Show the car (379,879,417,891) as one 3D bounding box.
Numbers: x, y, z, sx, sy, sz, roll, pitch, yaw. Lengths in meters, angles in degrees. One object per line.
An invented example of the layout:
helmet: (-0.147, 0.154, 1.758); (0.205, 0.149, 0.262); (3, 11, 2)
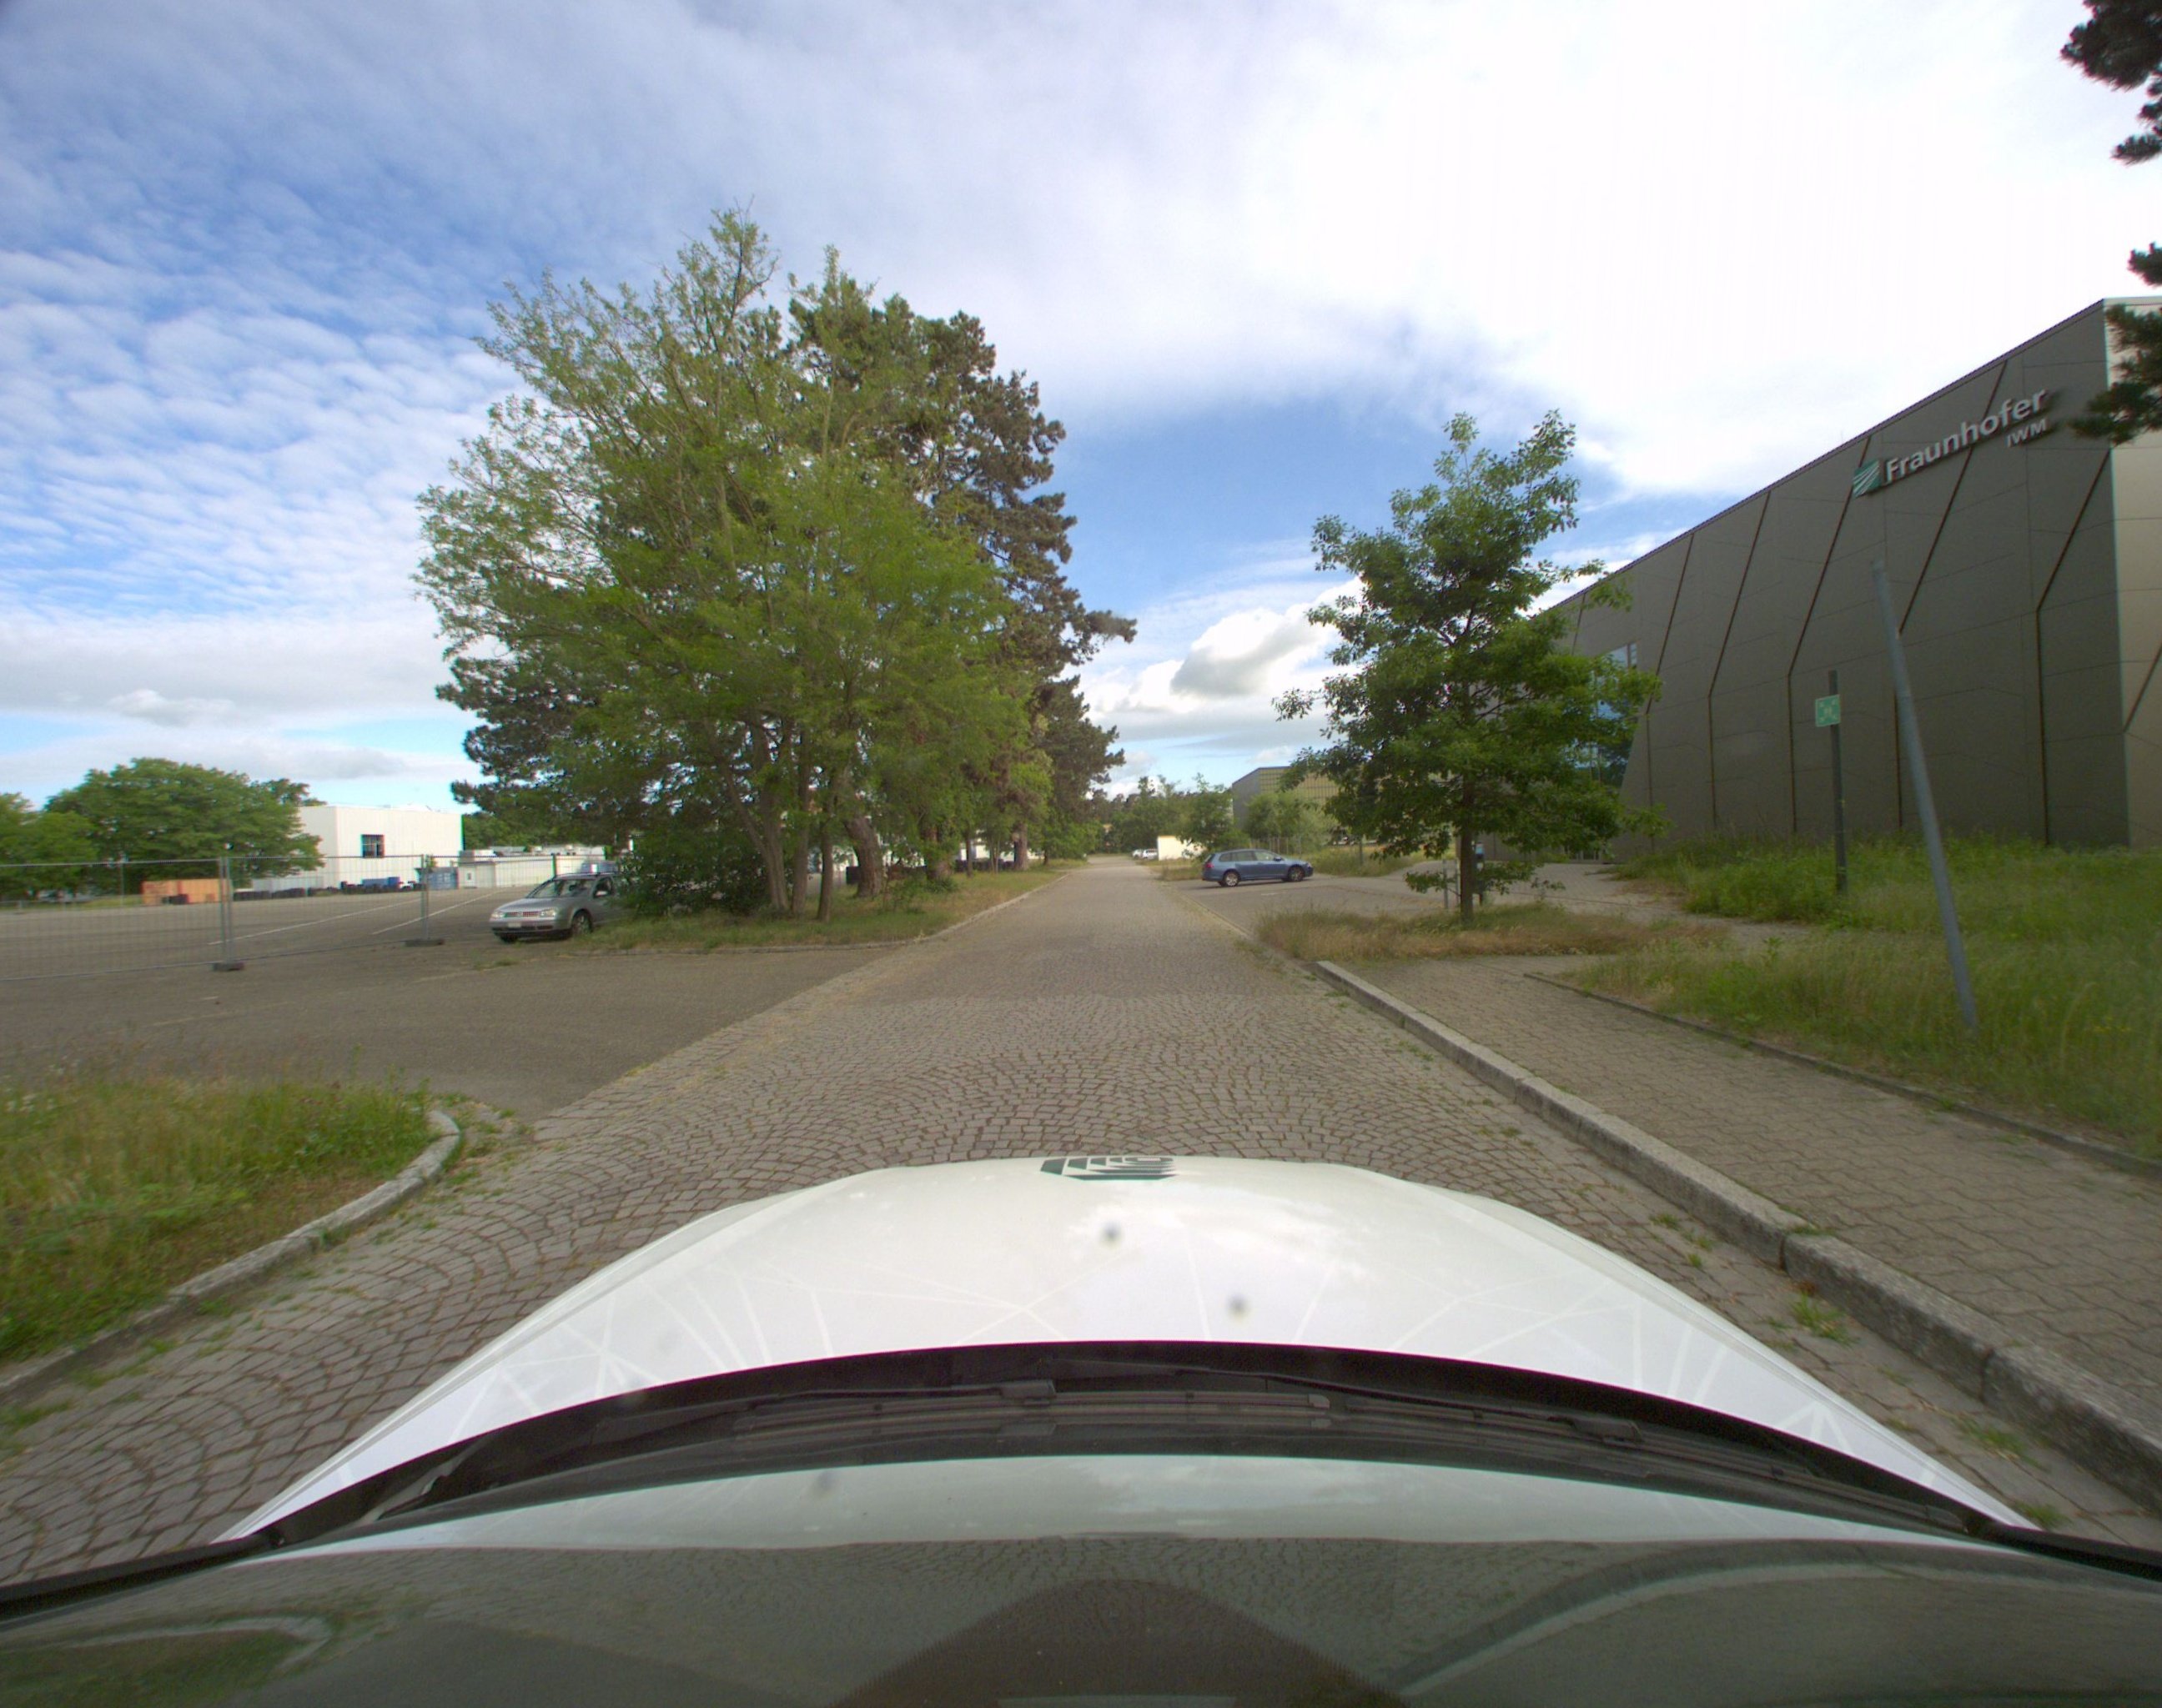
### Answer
car: (-98.190, 4.414, 117.038); (3.954, 1.532, 1.630); (-2, 0, 0)

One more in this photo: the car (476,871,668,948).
car: (-11.881, 1.221, 19.424); (1.710, 1.438, 4.466); (-2, 0, 0)

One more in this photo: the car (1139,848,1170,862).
car: (9.586, 0.084, 106.934); (3.838, 1.654, 1.686); (-3, 0, -1)

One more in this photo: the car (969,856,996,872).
car: (-9.972, 0.971, 82.677); (1.757, 1.453, 3.496); (-2, 0, 8)

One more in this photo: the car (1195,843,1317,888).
car: (7.119, 0.467, 33.387); (4.509, 1.443, 1.822); (-4, 0, -2)

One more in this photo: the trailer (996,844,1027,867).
trailer: (-10.178, 0.197, 120.169); (3.144, 3.067, 8.794); (-2, 0, 4)

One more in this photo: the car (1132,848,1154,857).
car: (11.622, -0.212, 153.071); (4.009, 1.502, 1.549); (-2, 0, 3)
